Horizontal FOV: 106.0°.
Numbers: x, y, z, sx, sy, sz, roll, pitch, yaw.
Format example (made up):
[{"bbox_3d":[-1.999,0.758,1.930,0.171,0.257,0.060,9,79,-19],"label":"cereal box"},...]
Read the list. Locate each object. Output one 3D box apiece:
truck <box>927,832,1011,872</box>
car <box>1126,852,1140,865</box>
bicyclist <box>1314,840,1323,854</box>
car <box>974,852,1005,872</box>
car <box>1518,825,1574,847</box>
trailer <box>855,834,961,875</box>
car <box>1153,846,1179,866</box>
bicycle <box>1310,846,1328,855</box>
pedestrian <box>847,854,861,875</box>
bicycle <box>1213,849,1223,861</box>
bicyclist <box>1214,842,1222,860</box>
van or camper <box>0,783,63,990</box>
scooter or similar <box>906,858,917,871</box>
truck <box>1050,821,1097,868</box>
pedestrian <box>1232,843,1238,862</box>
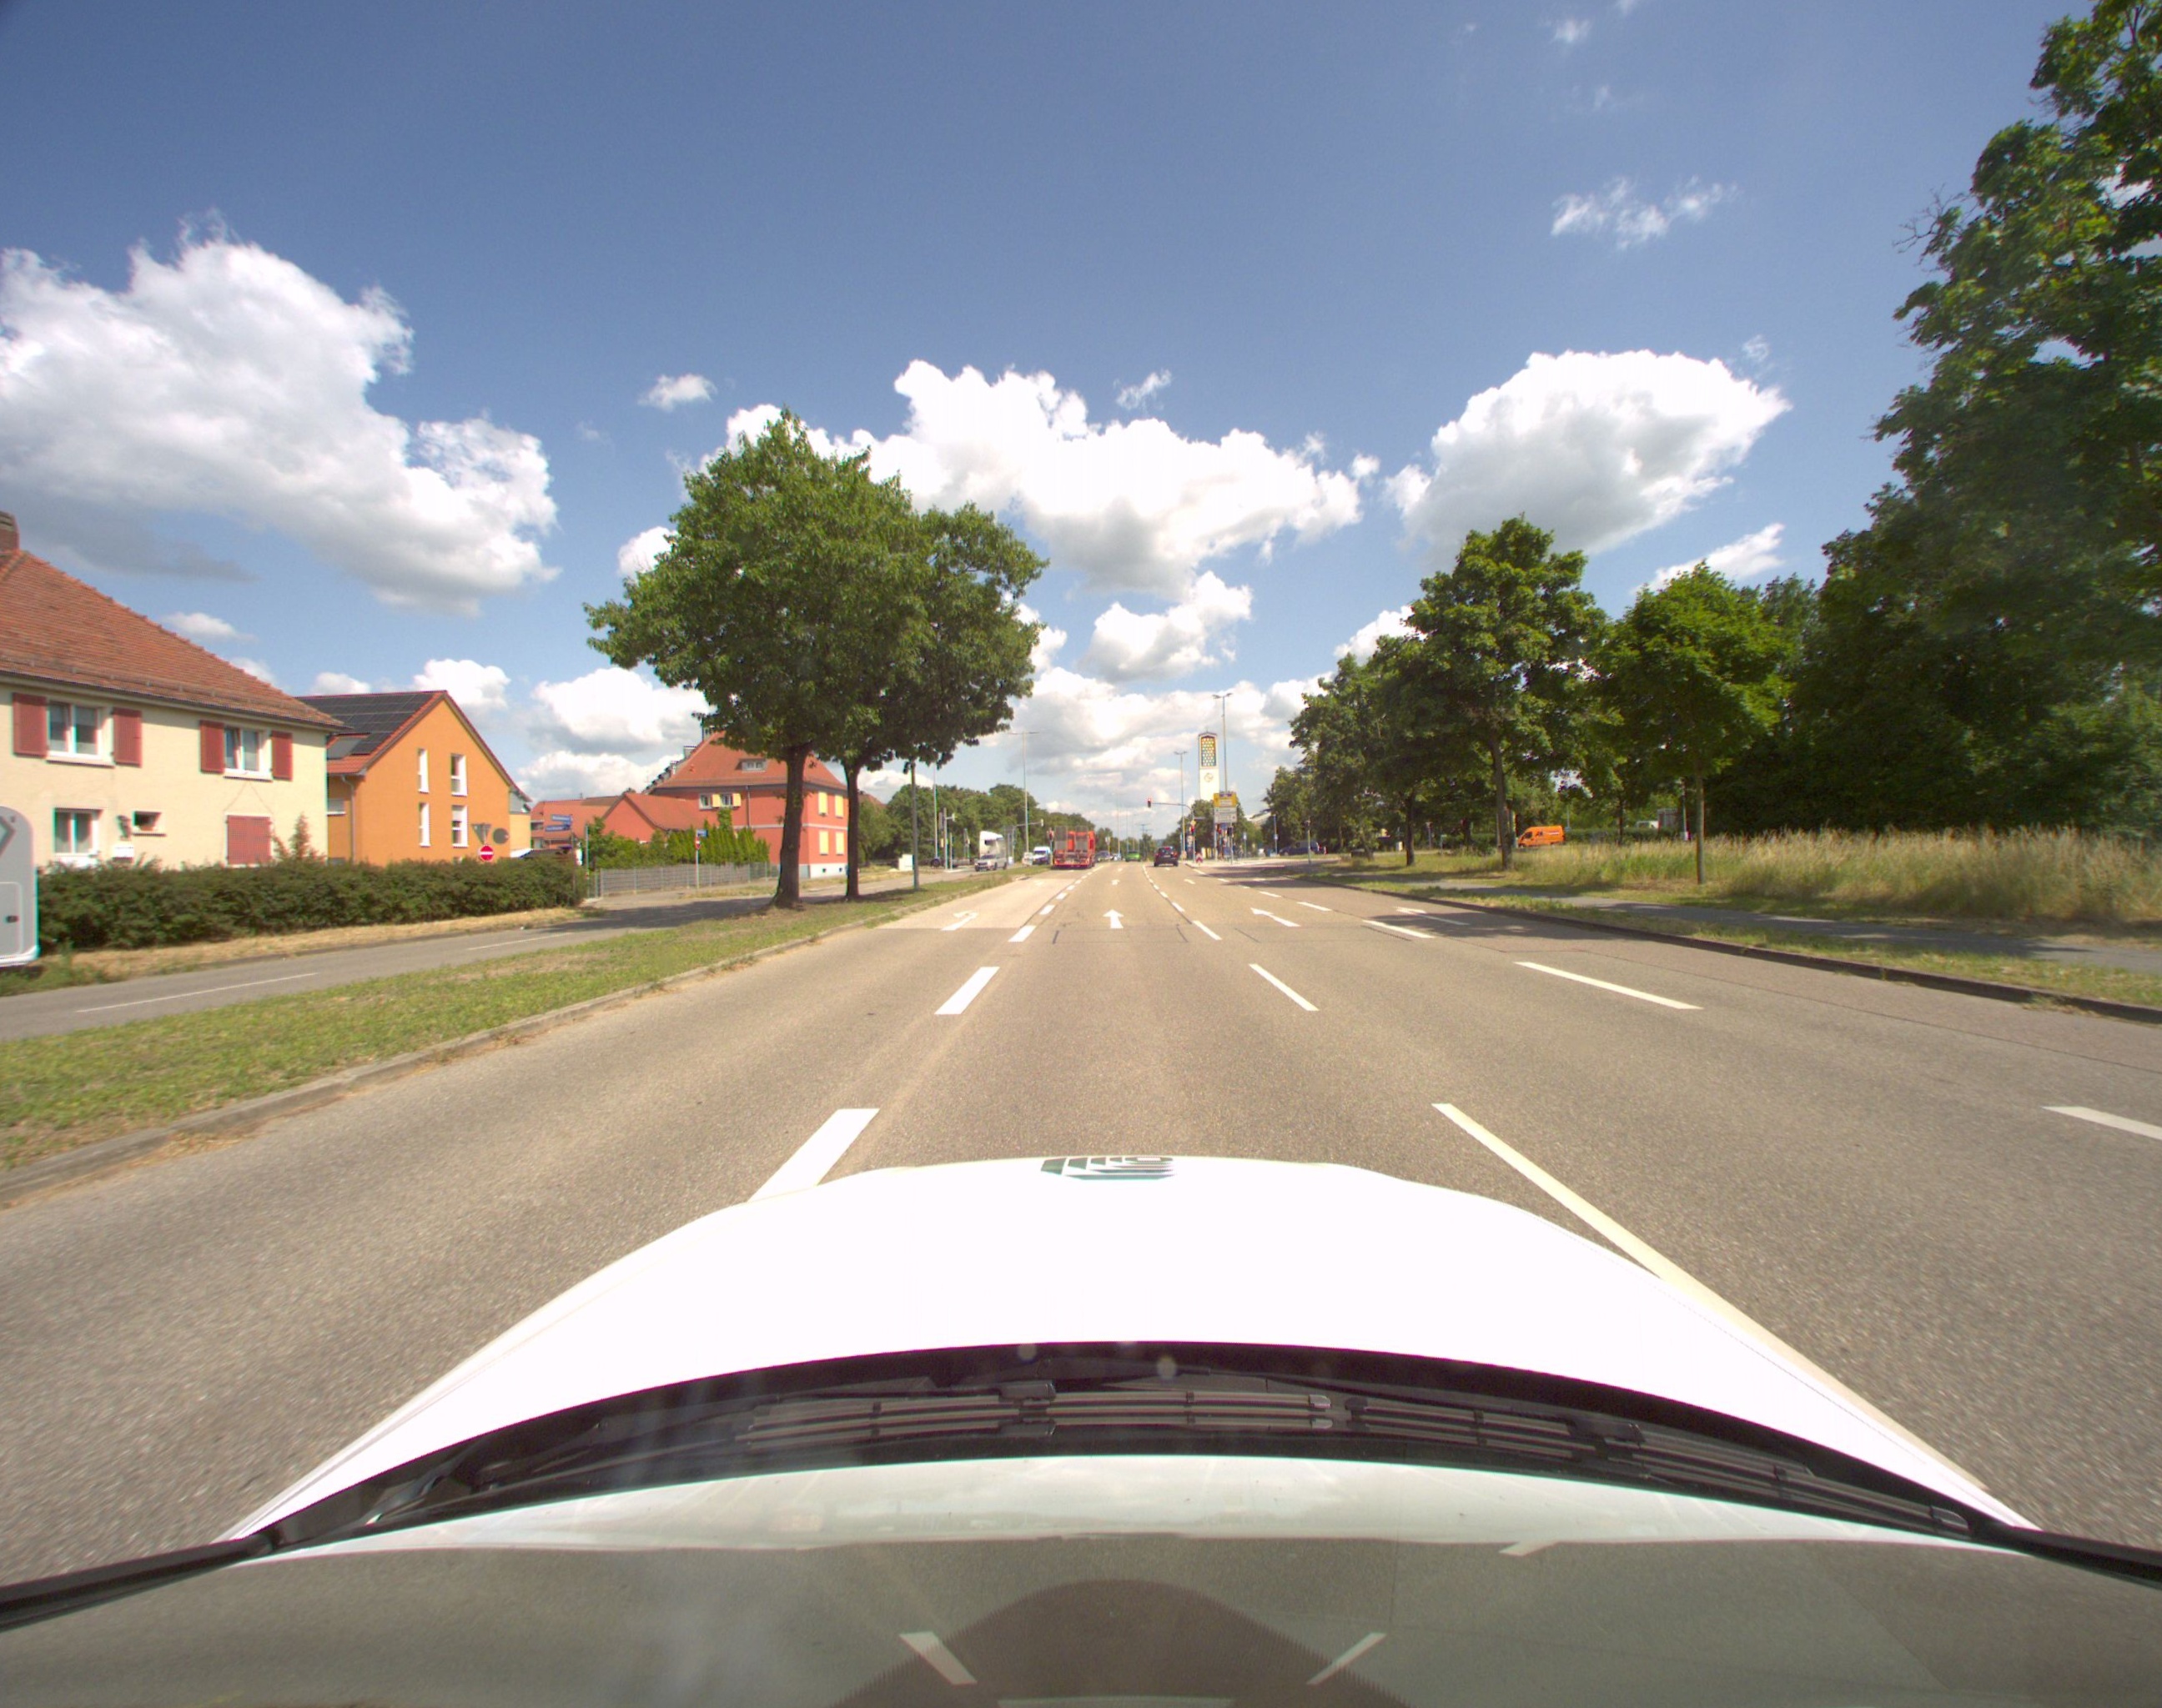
[{"bbox_3d":[-12.448,-0.231,90.708,8.544,3.971,2.982,-3,-1,16],"label":"truck"},{"bbox_3d":[6.521,0.557,103.221,1.733,1.669,3.593,0,-1,3],"label":"car"},{"bbox_3d":[29.125,-0.858,99.752,0.779,1.804,0.690,-2,-1,37],"label":"bicyclist"},{"bbox_3d":[-7.808,0.710,69.771,1.725,1.508,4.656,-5,-1,3],"label":"car"},{"bbox_3d":[48.720,-1.832,85.375,4.802,2.226,2.223,0,-1,21],"label":"car"},{"bbox_3d":[-19.680,0.113,92.645,11.195,4.012,3.648,-3,-1,16],"label":"trailer"},{"bbox_3d":[6.694,0.183,64.254,1.792,1.552,4.003,0,-1,3],"label":"car"},{"bbox_3d":[29.138,-0.416,99.747,1.977,1.093,0.690,-2,-1,37],"label":"bicycle"},{"bbox_3d":[-16.847,0.784,60.438,0.693,1.583,0.851,0,-1,2],"label":"pedestrian"},{"bbox_3d":[12.853,0.121,76.384,0.643,1.107,1.937,0,-1,19],"label":"bicycle"},{"bbox_3d":[12.793,-0.292,76.204,0.643,1.661,0.653,0,-1,18],"label":"bicyclist"},{"bbox_3d":[-17.521,0.508,9.335,2.249,3.112,7.327,0,1,3],"label":"van or camper"},{"bbox_3d":[-15.795,0.959,75.932,0.587,1.164,1.763,0,-1,2],"label":"scooter or similar"},{"bbox_3d":[-0.420,-0.639,64.094,3.058,3.414,11.075,0,-1,3],"label":"truck"},{"bbox_3d":[14.285,-0.150,75.508,0.461,1.779,0.484,0,-1,14],"label":"pedestrian"}]
